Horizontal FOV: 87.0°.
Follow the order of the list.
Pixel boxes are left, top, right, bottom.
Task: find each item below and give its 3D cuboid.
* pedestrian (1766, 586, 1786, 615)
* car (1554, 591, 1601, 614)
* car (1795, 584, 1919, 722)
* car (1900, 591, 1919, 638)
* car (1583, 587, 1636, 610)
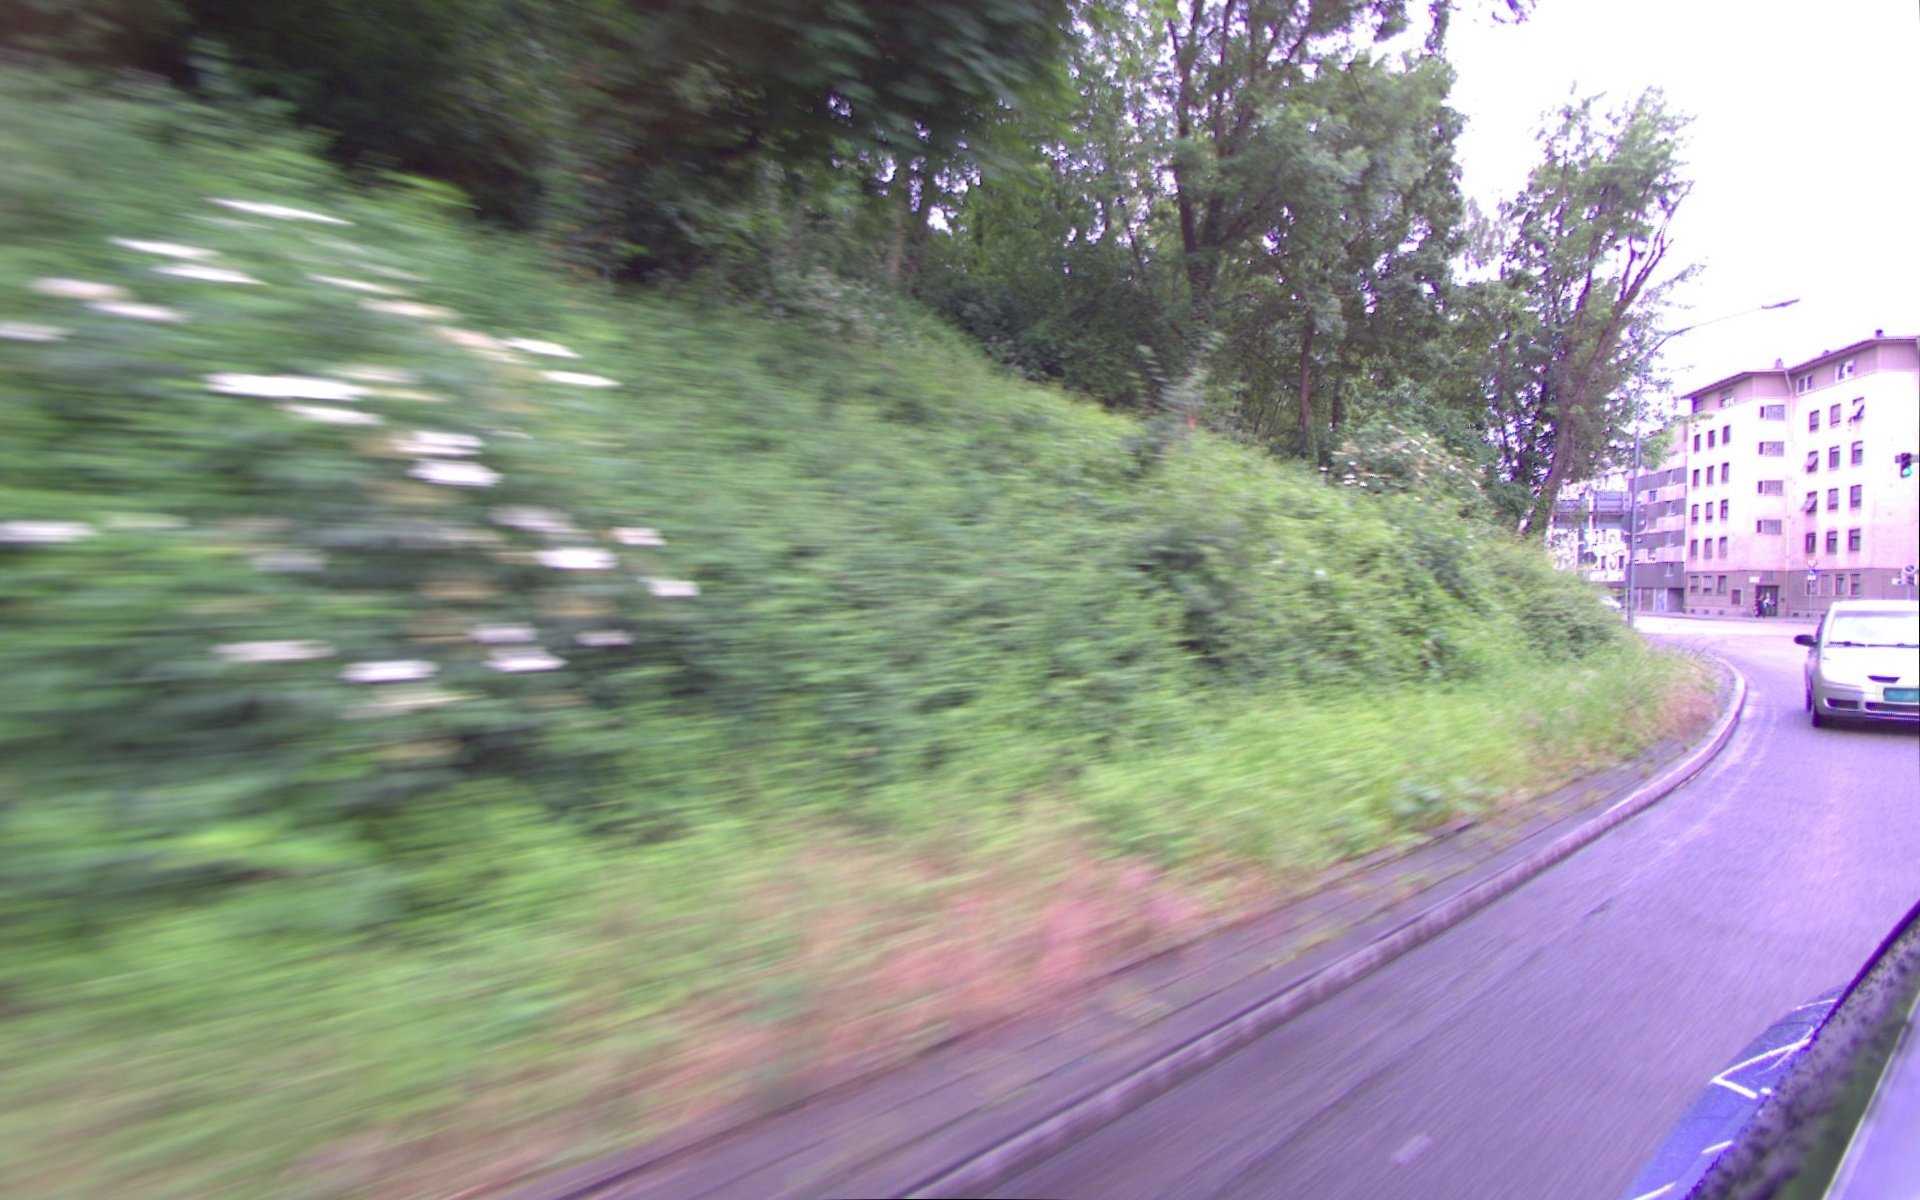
[{"bbox_3d":[57.920,0.049,71.845,0.799,2.039,0.854,0,-1,15],"label":"pedestrian"},{"bbox_3d":[40.009,0.123,65.646,1.798,1.426,4.204,0,1,20],"label":"car"},{"bbox_3d":[11.947,0.590,12.892,1.743,1.538,3.948,-1,0,36],"label":"car"},{"bbox_3d":[32.104,0.513,32.550,1.776,1.514,4.171,3,2,30],"label":"car"},{"bbox_3d":[45.599,-0.143,71.125,1.853,1.496,4.532,1,1,16],"label":"car"}]
